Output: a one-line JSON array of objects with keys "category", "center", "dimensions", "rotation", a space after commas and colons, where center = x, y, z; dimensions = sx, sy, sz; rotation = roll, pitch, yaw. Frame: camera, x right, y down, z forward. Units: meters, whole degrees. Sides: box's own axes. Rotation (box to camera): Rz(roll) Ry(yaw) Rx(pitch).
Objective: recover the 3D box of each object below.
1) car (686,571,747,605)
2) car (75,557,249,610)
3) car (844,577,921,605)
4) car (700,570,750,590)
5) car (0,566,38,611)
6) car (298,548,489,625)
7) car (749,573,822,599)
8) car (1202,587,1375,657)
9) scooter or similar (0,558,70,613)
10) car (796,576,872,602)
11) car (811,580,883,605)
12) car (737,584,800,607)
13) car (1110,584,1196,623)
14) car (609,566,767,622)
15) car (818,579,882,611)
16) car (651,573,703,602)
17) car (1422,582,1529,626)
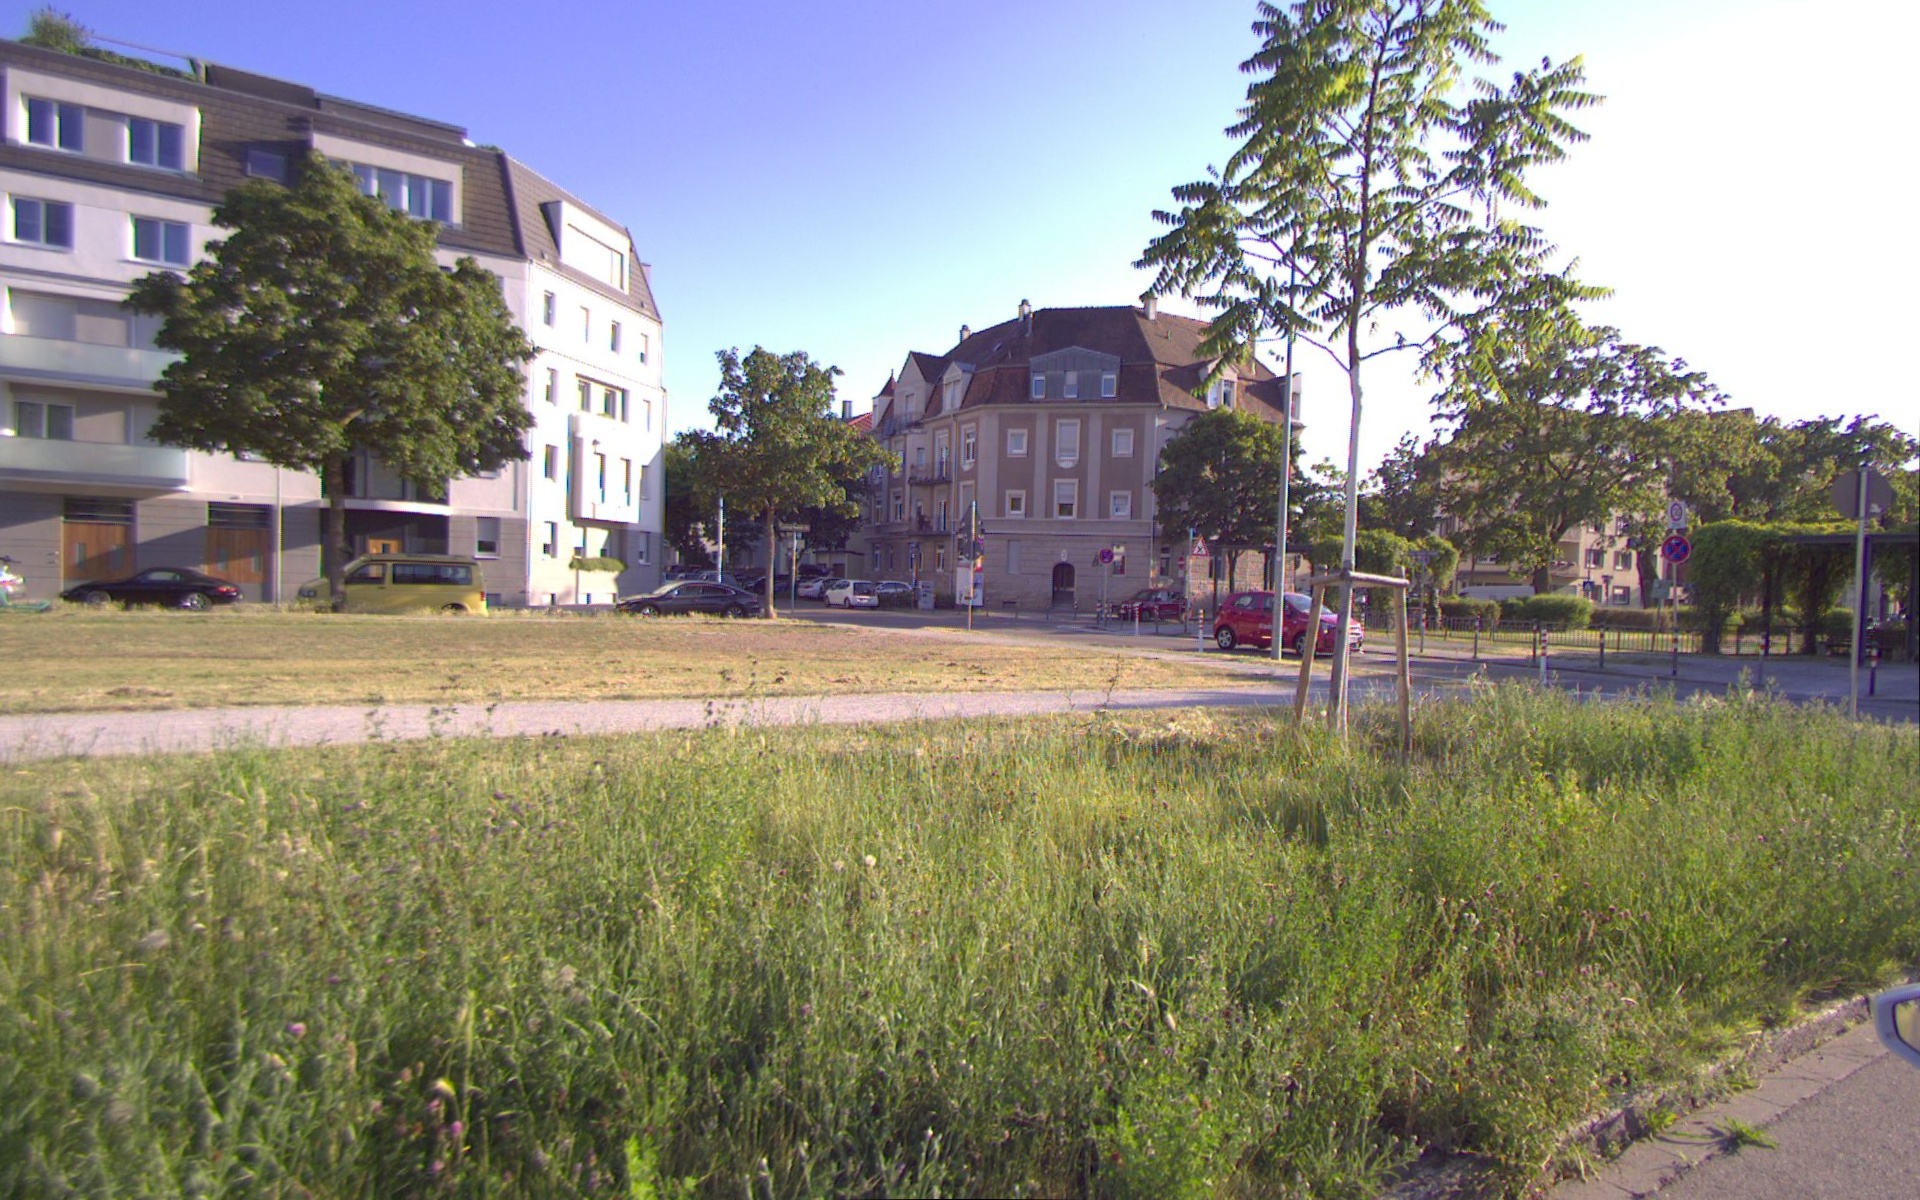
[{"category": "car", "center": [-12.721, -0.659, 52.330], "dimensions": [1.870, 1.612, 4.053], "rotation": [1, 1, -33]}, {"category": "car", "center": [-24.509, -0.489, 31.032], "dimensions": [3.953, 1.483, 1.664], "rotation": [1, 1, -30]}, {"category": "car", "center": [-4.406, -0.496, 57.407], "dimensions": [4.016, 1.526, 1.845], "rotation": [1, 2, -32]}, {"category": "car", "center": [-19.583, -1.671, 83.746], "dimensions": [3.701, 1.579, 1.710], "rotation": [1, 2, -32]}, {"category": "car", "center": [-28.528, -0.364, 28.194], "dimensions": [3.693, 1.257, 1.610], "rotation": [2, 0, -35]}, {"category": "car", "center": [-16.289, -0.354, 29.029], "dimensions": [4.642, 2.040, 2.015], "rotation": [1, 1, -32]}, {"category": "car", "center": [-11.724, -0.956, 67.667], "dimensions": [4.491, 1.663, 1.858], "rotation": [1, 2, -32]}, {"category": "car", "center": [7.890, 0.494, 24.416], "dimensions": [1.751, 1.546, 3.740], "rotation": [1, 0, -32]}, {"category": "scooter or similar", "center": [-20.155, -0.314, 21.459], "dimensions": [1.629, 1.131, 0.449], "rotation": [1, 1, -30]}, {"category": "car", "center": [-7.979, -0.727, 63.663], "dimensions": [4.448, 1.546, 1.933], "rotation": [-1, 3, -37]}, {"category": "car", "center": [-6.890, -0.465, 61.446], "dimensions": [4.110, 1.467, 1.658], "rotation": [0, 2, -32]}, {"category": "car", "center": [-14.045, -0.344, 73.755], "dimensions": [4.157, 1.579, 1.858], "rotation": [1, 2, -32]}, {"category": "car", "center": [9.811, 0.188, 51.143], "dimensions": [4.039, 1.764, 1.797], "rotation": [1, 3, -30]}, {"category": "car", "center": [-9.010, -0.175, 33.426], "dimensions": [4.783, 1.691, 1.774], "rotation": [2, 1, -30]}, {"category": "car", "center": [-5.653, -0.281, 51.084], "dimensions": [1.800, 1.492, 4.185], "rotation": [1, 0, -28]}, {"category": "car", "center": [-16.886, -0.755, 59.863], "dimensions": [1.870, 1.612, 4.053], "rotation": [1, 1, -33]}, {"category": "car", "center": [36.507, 0.259, 71.221], "dimensions": [6.571, 2.781, 2.313], "rotation": [2, 1, 31]}]
